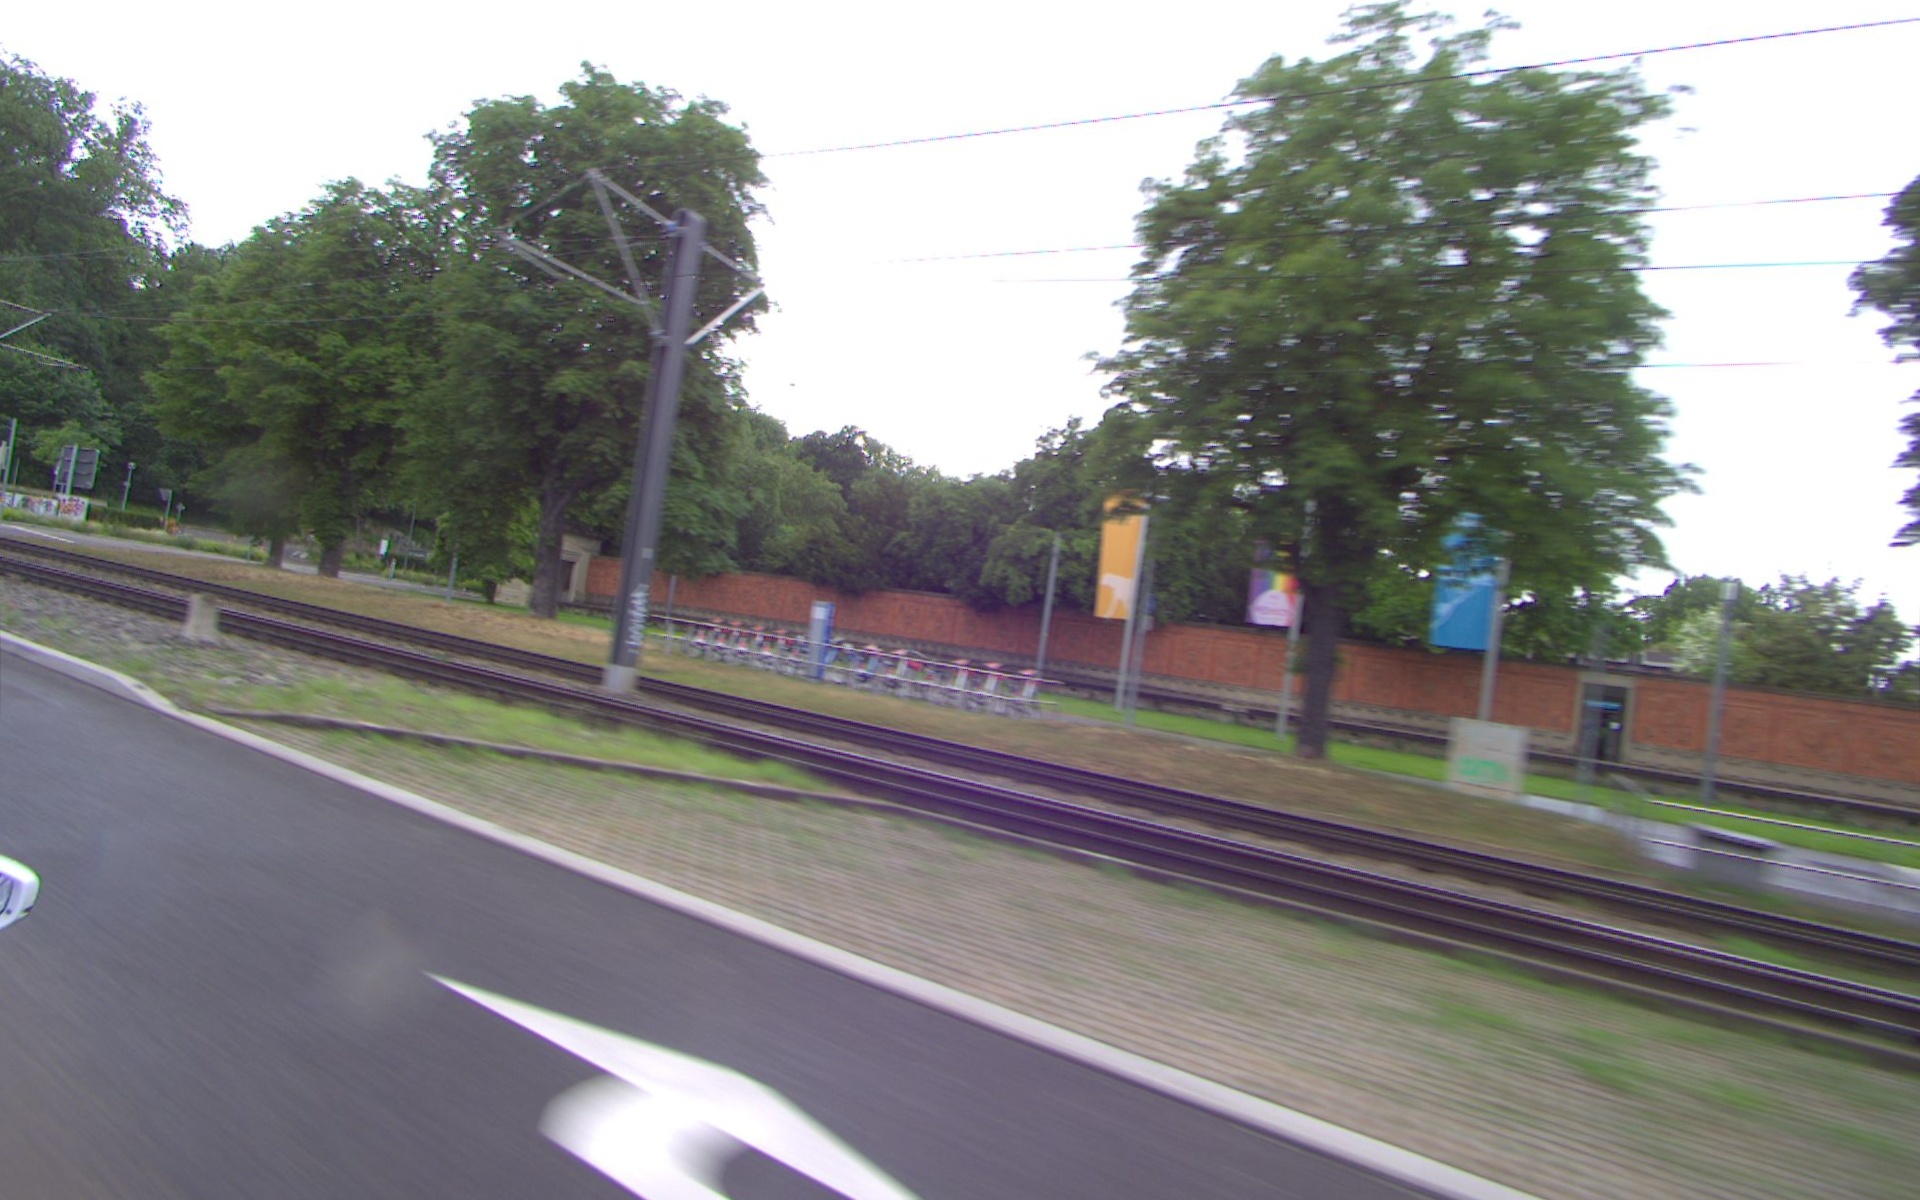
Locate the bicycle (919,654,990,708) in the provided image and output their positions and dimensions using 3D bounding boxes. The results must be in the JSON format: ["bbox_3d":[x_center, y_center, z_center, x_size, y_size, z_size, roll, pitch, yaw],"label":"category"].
[{"bbox_3d":[-0.092,1.817,22.370,0.642,1.043,1.815,8,-2,29],"label":"bicycle"}]

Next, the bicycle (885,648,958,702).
[{"bbox_3d":[-0.843,1.713,22.726,0.642,1.043,1.852,8,-2,29],"label":"bicycle"}]

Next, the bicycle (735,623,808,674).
[{"bbox_3d":[-4.643,1.217,24.944,0.642,1.043,1.815,8,-2,29],"label":"bicycle"}]

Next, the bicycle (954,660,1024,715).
[{"bbox_3d":[0.650,1.913,21.904,0.642,1.043,1.815,8,-2,29],"label":"bicycle"}]

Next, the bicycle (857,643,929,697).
[{"bbox_3d":[-1.515,1.618,23.017,0.642,1.043,1.815,8,-2,29],"label":"bicycle"}]

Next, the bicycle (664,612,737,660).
[{"bbox_3d":[-6.765,0.958,26.333,0.642,1.043,1.815,8,-2,29],"label":"bicycle"}]

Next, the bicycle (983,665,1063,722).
[{"bbox_3d":[1.376,2.011,21.452,0.677,1.043,2.229,8,-2,29],"label":"bicycle"}]

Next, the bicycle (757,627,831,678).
[{"bbox_3d":[-4.027,1.304,24.556,0.642,1.043,1.839,8,-2,29],"label":"bicycle"}]

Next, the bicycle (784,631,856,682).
[{"bbox_3d":[-3.373,1.389,24.342,0.642,1.043,1.815,8,-2,29],"label":"bicycle"}]

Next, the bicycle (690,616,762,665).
[{"bbox_3d":[-6.009,1.058,25.919,0.642,1.043,1.815,8,-2,29],"label":"bicycle"}]

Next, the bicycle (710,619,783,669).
[{"bbox_3d":[-5.381,1.127,25.437,0.642,1.043,1.815,8,-2,29],"label":"bicycle"}]

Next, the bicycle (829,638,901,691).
[{"bbox_3d":[-2.186,1.521,23.421,0.642,1.046,1.815,8,-2,29],"label":"bicycle"}]
